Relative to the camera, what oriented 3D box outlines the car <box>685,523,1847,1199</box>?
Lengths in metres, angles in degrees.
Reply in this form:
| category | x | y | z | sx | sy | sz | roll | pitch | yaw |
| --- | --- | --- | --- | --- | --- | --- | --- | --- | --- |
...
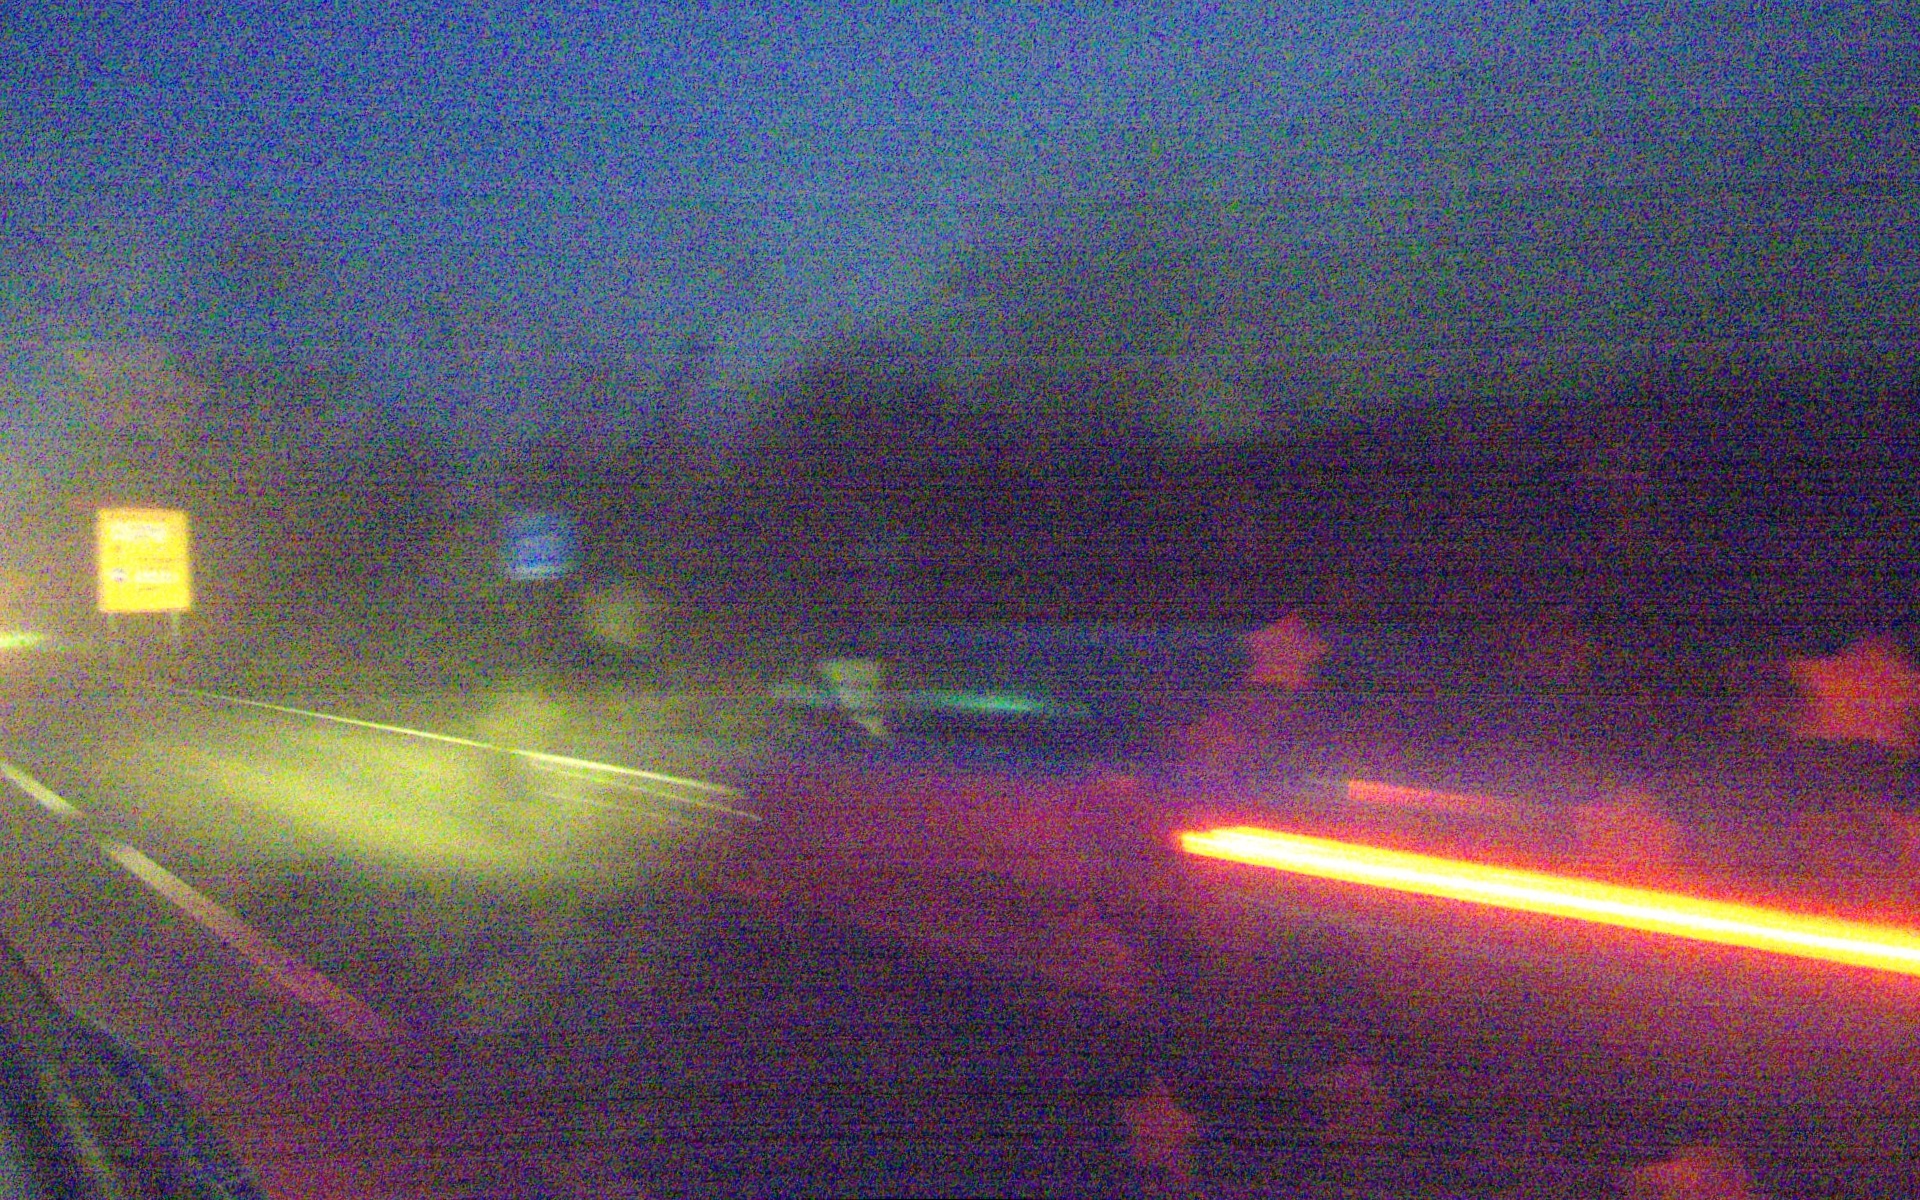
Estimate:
| category | x | y | z | sx | sy | sz | roll | pitch | yaw |
| --- | --- | --- | --- | --- | --- | --- | --- | --- | --- |
| car | 0.892 | 0.626 | 4.088 | 3.998 | 1.560 | 1.973 | -1 | 0 | 41 |
